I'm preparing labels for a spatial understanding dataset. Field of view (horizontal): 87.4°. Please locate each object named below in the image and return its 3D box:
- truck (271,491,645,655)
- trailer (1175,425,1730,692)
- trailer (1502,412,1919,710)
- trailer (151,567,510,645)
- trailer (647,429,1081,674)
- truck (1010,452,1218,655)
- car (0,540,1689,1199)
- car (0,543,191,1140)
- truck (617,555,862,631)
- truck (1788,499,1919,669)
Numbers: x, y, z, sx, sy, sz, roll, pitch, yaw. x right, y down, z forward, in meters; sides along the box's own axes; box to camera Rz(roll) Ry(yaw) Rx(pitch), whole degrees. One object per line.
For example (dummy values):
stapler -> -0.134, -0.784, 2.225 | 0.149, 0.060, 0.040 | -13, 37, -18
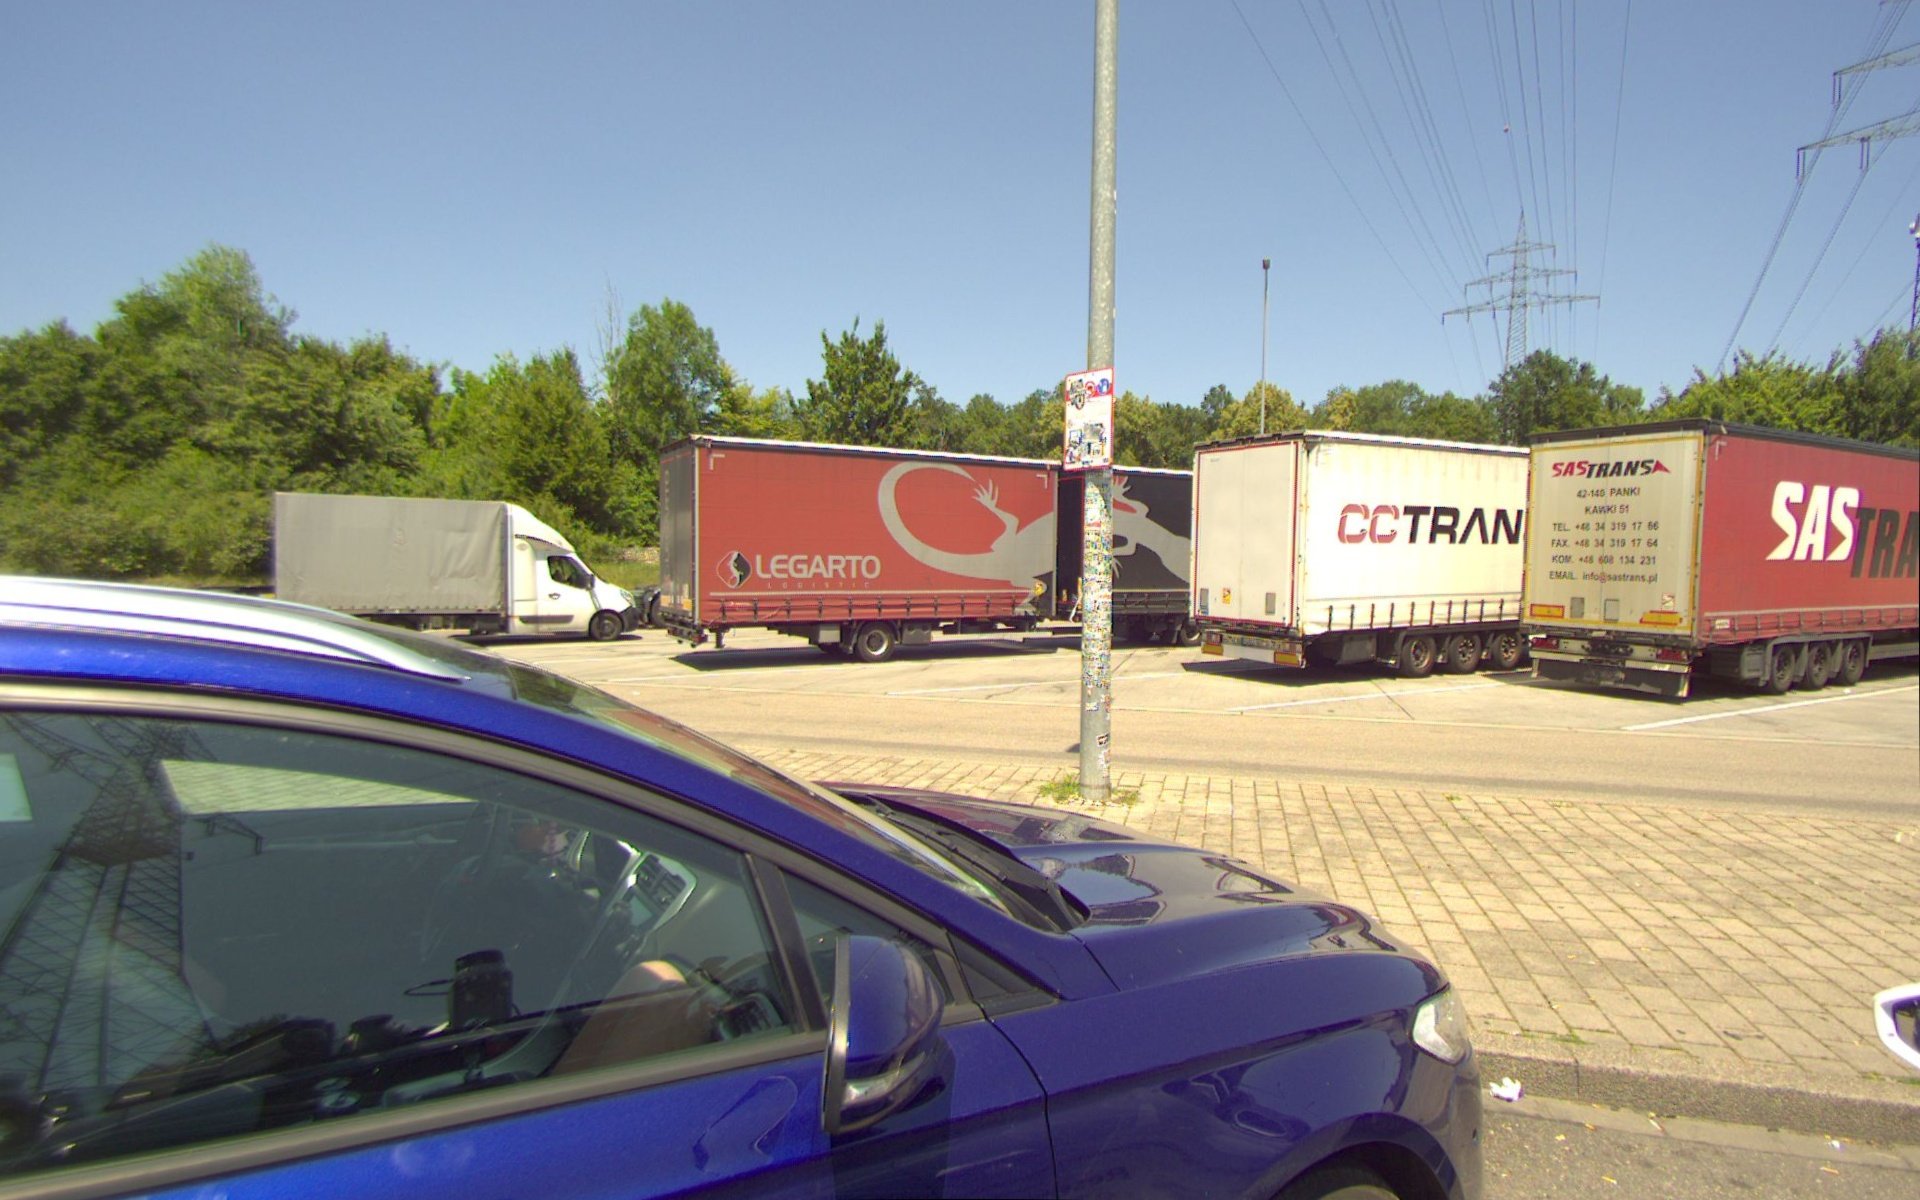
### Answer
truck -> -11.195, -0.626, 23.012 | 7.204, 3.279, 2.727 | -1, 3, -29
trailer -> 10.582, -0.801, 20.324 | 13.962, 4.141, 2.782 | -1, 3, -30
trailer -> 15.601, -0.692, 18.713 | 13.962, 4.141, 2.777 | -1, 3, -30
trailer -> -15.170, 0.054, 24.881 | 7.204, 1.711, 2.249 | -1, 3, -29
trailer -> -1.748, -0.901, 20.316 | 8.376, 4.141, 2.722 | -1, 3, -30
truck -> 3.564, -1.067, 23.438 | 3.947, 4.298, 2.723 | -1, 3, -30
car -> -1.041, 0.680, 1.481 | 4.444, 1.511, 1.859 | 0, 2, -32
car -> -4.617, 0.603, 2.214 | 4.444, 1.520, 1.762 | 0, 2, -32
truck -> -6.352, -0.232, 29.262 | 6.733, 2.041, 1.987 | -1, 1, -26
truck -> 21.204, -0.394, 21.991 | 5.829, 3.373, 2.837 | -1, 3, -30
